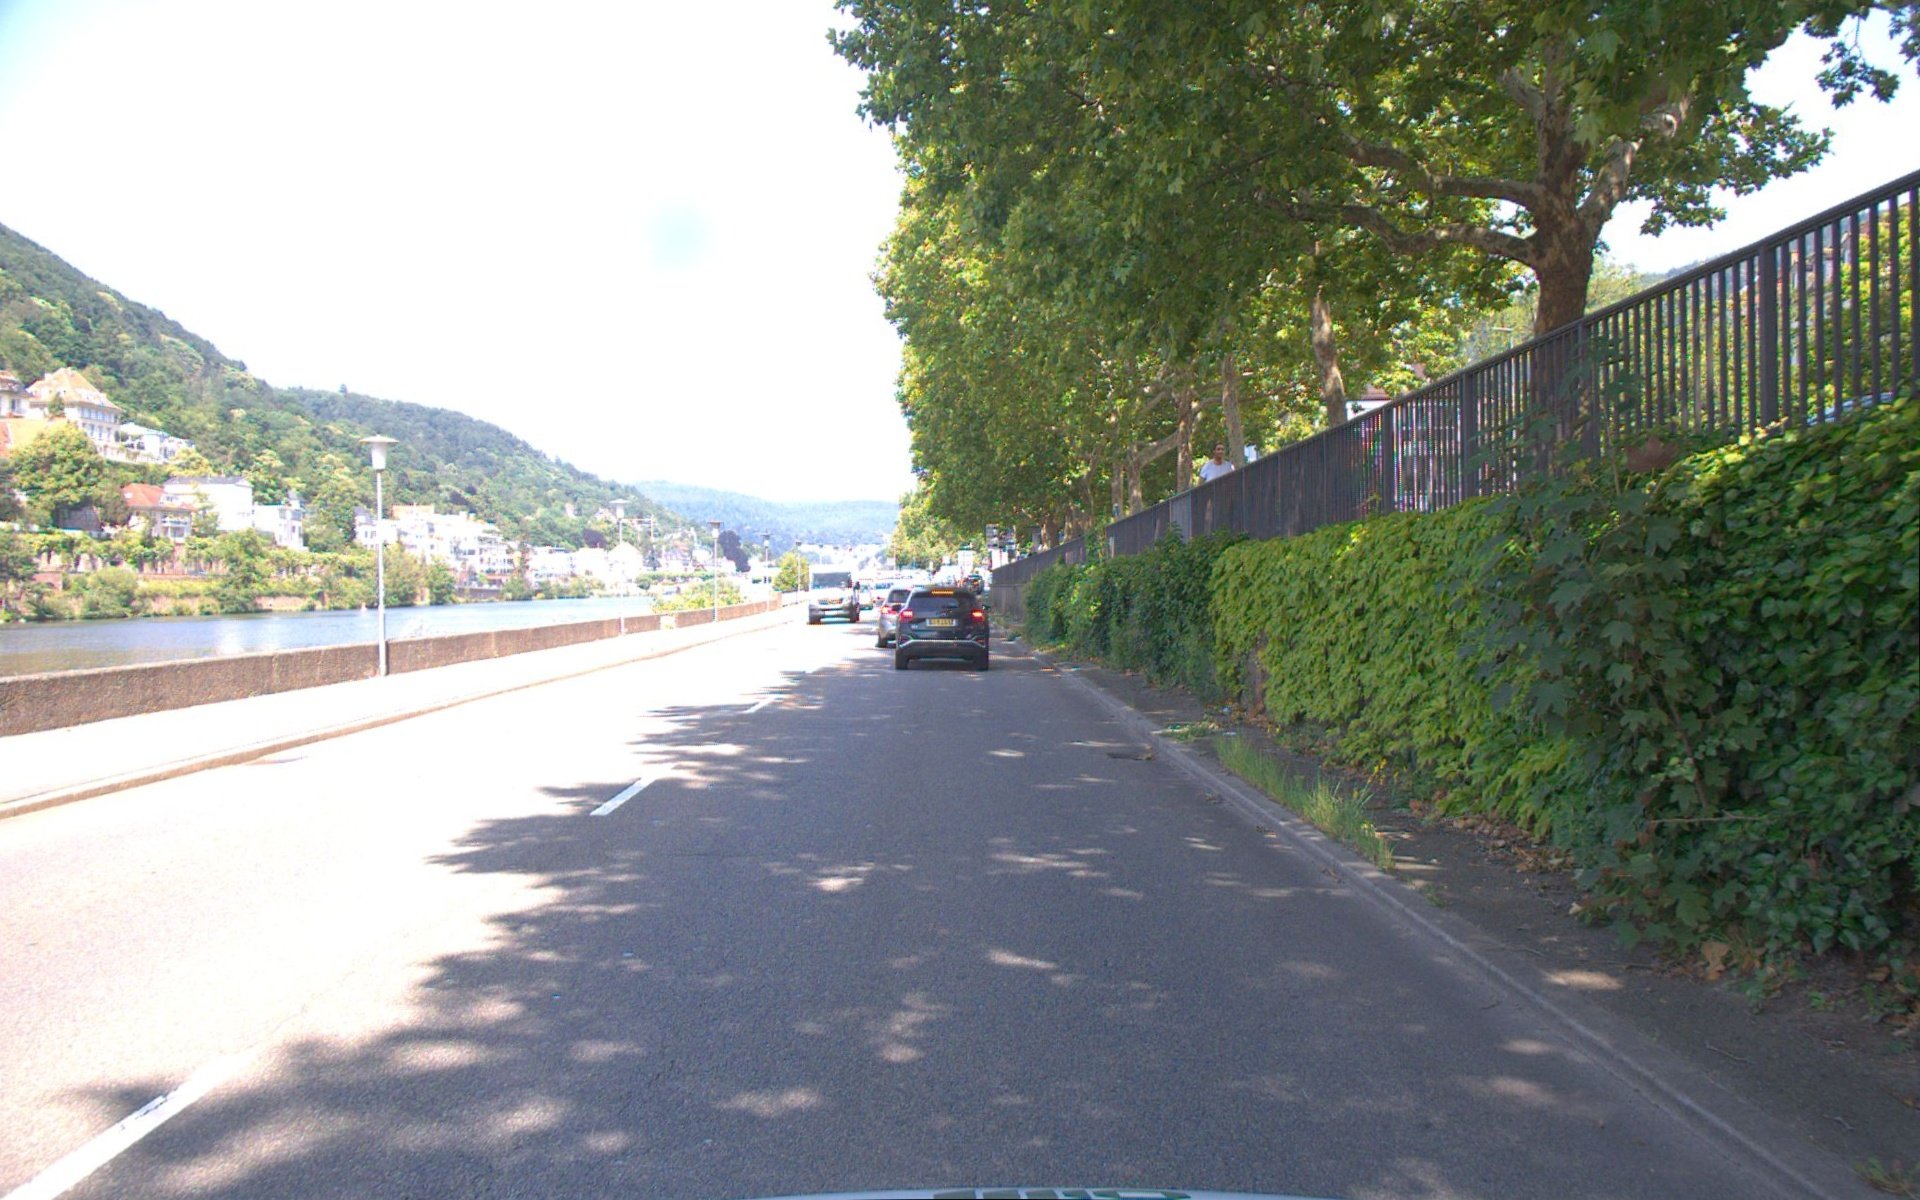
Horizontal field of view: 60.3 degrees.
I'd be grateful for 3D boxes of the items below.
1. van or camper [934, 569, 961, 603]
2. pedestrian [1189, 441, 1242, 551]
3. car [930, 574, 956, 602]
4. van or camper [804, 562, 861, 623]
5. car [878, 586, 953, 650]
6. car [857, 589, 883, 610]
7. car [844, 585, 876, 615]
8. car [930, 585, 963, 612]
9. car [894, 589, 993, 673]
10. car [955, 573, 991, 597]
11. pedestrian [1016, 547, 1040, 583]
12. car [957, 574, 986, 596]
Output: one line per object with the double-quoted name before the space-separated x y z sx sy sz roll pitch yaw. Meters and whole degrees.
"van or camper" -1.079 -1.205 144.963 2.262 2.897 4.246 -1 0 0
"pedestrian" 3.872 -1.570 25.091 0.651 1.619 0.650 -1 0 -2
"car" -1.390 -0.998 132.487 1.953 2.207 3.999 0 1 -2
"van or camper" -5.342 -0.341 69.941 2.035 2.440 5.384 -1 0 -1
"car" -1.131 0.430 42.009 1.791 1.537 3.999 0 0 -2
"car" -6.470 -0.052 119.008 1.696 1.467 4.044 -2 0 -2
"car" -5.915 -0.025 98.405 1.696 1.679 4.176 -2 0 -2
"car" -0.785 -0.078 93.377 1.791 1.469 3.999 -1 0 -2
"car" -0.349 0.543 31.862 1.791 1.512 3.999 0 0 -2
"car" 1.210 -1.391 156.919 3.036 2.048 5.822 -3 1 -2
"pedestrian" 3.096 -1.584 75.166 0.918 1.607 1.027 -3 0 -3
"car" 1.152 -1.511 167.321 2.608 2.048 5.822 -3 1 -2
